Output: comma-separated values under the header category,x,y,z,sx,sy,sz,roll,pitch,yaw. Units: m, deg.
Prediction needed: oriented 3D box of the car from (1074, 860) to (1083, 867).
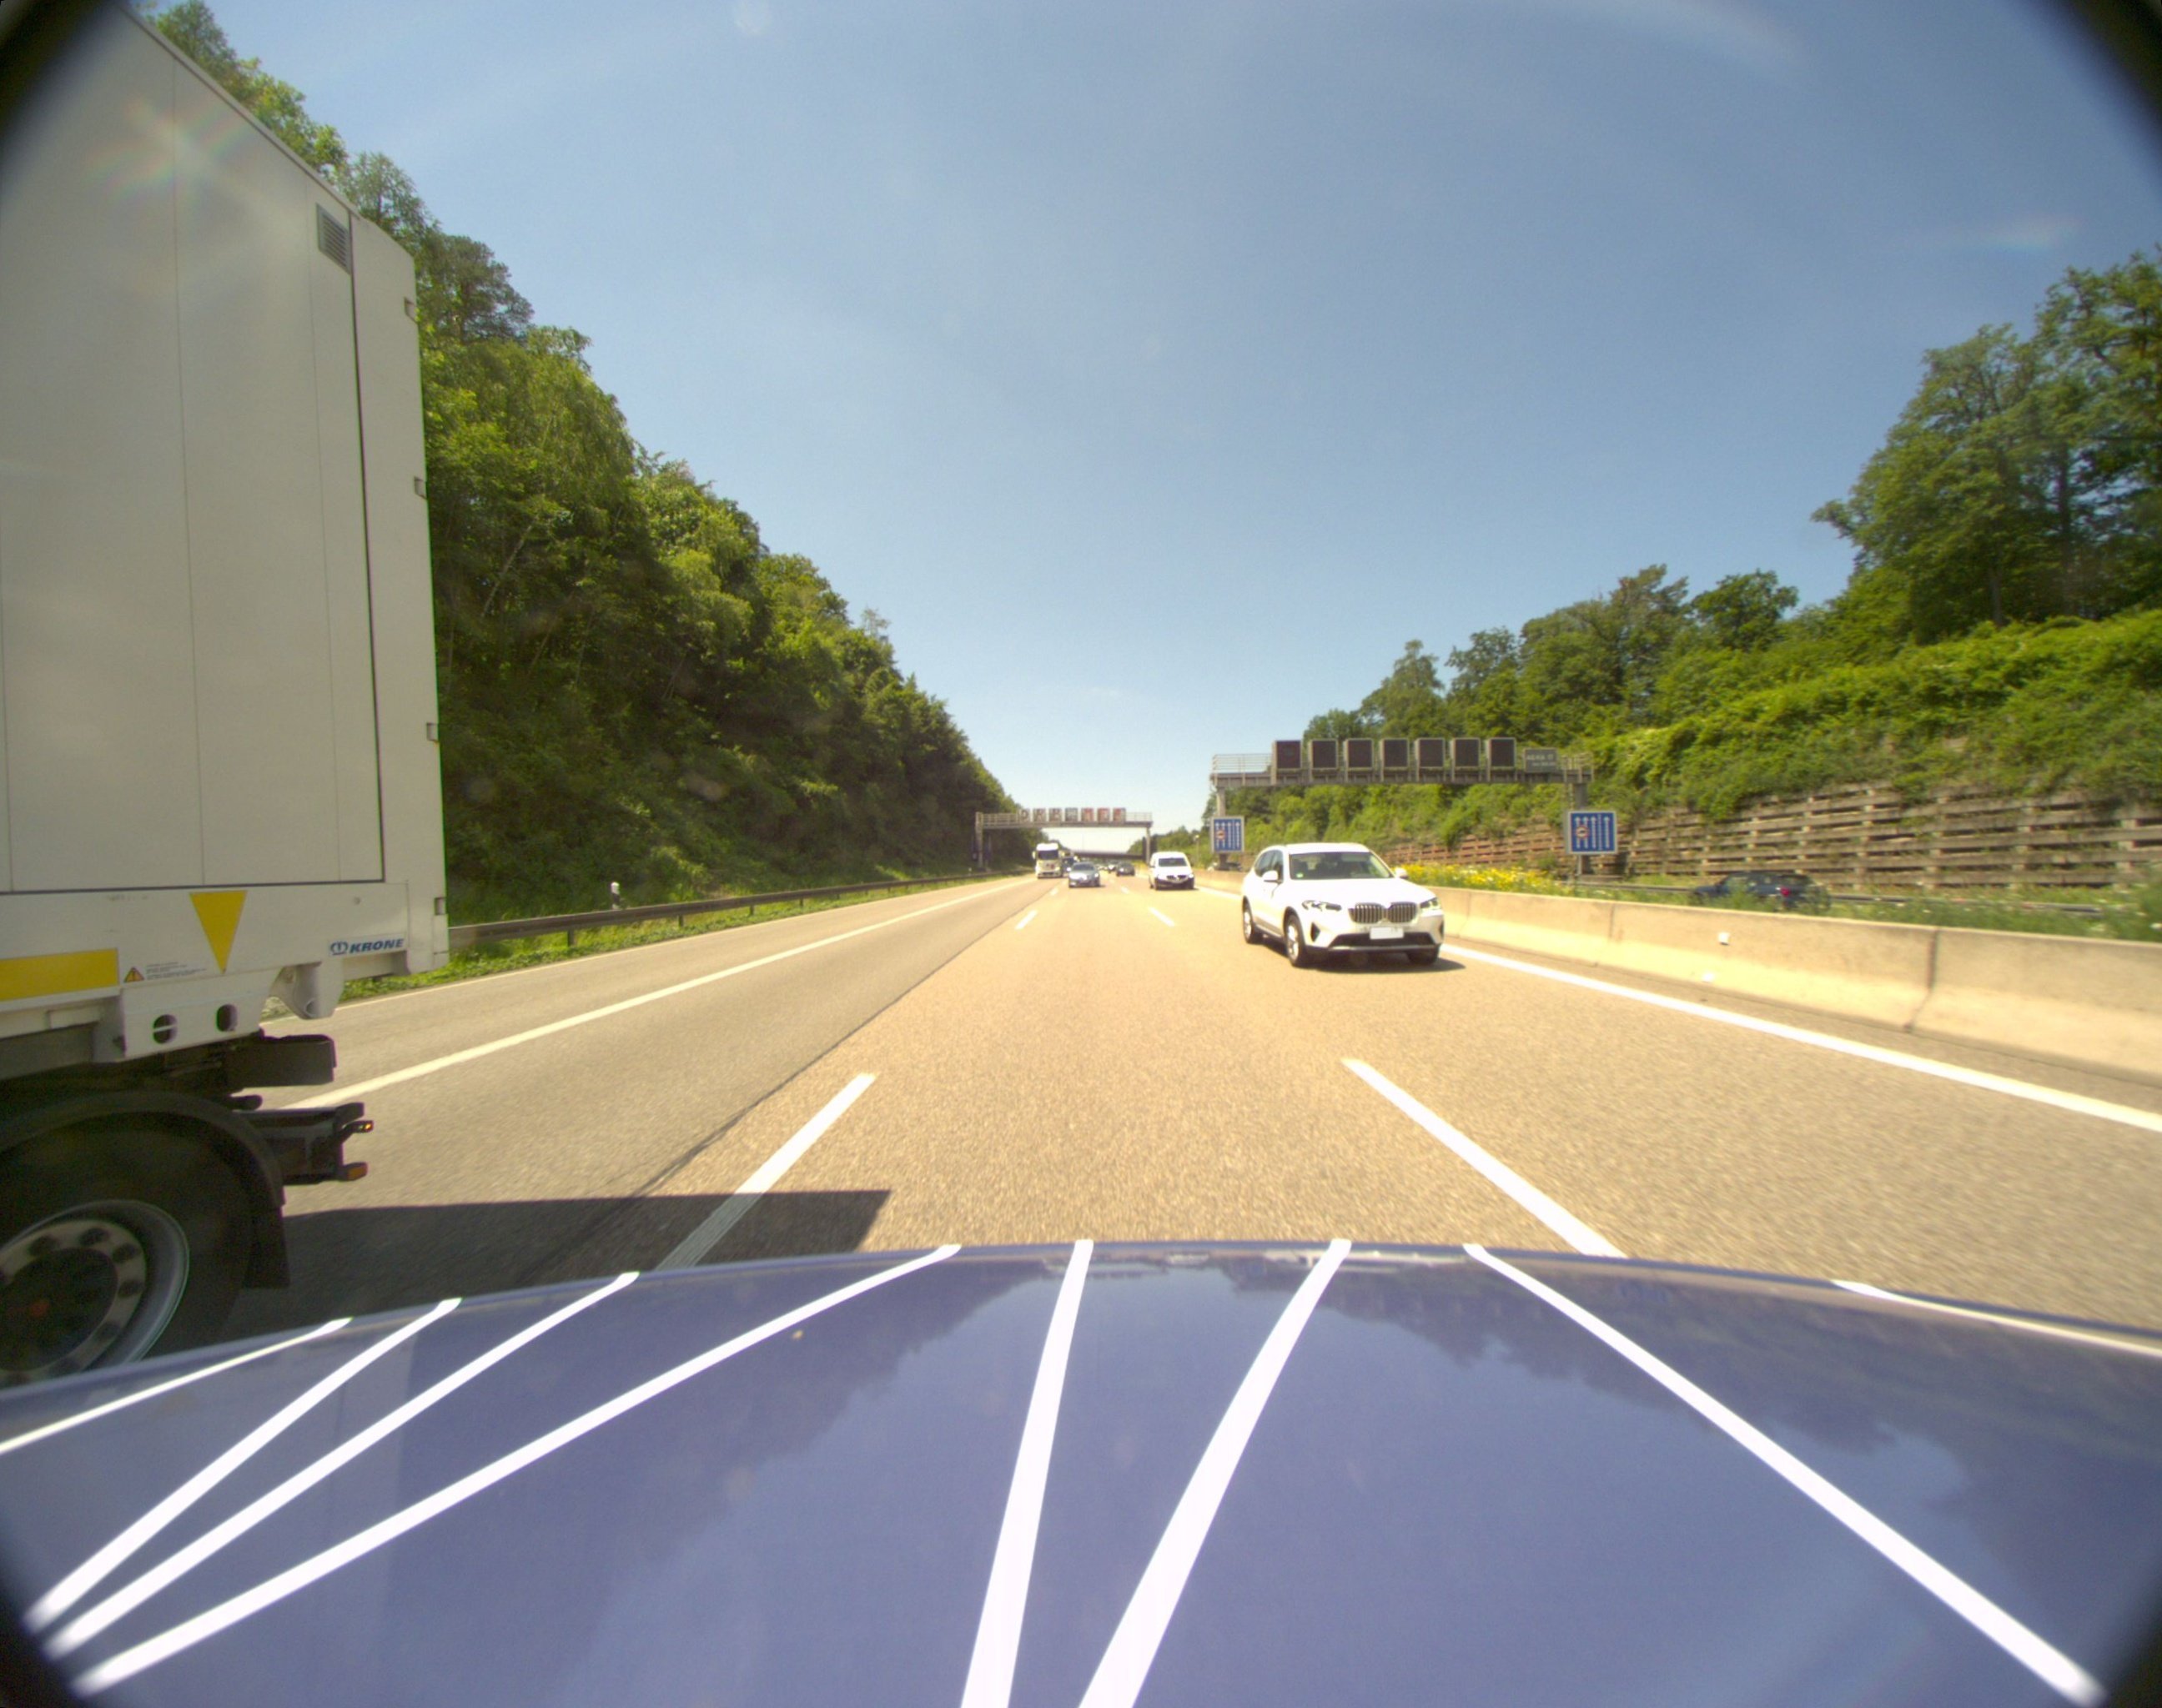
category,x,y,z,sx,sy,sz,roll,pitch,yaw
car,-0.644,2.504,198.503,1.924,1.849,4.001,-3,0,2

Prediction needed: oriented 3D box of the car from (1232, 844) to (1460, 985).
category,x,y,z,sx,sy,sz,roll,pitch,yaw
car,3.639,0.759,11.365,1.850,1.634,4.369,-2,-1,0

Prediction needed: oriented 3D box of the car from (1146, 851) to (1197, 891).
category,x,y,z,sx,sy,sz,roll,pitch,yaw
car,4.335,0.793,36.960,1.998,1.764,4.502,-3,0,2

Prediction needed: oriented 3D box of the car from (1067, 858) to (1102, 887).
category,x,y,z,sx,sy,sz,roll,pitch,yaw
car,0.233,1.060,44.406,1.843,1.518,4.502,-3,0,2

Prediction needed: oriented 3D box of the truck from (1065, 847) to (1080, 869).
category,x,y,z,sx,sy,sz,roll,pitch,yaw
truck,-1.689,0.816,158.447,2.627,4.364,13.088,-3,0,0

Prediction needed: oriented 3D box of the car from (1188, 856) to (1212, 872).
category,x,y,z,sx,sy,sz,roll,pitch,yaw
car,12.143,1.022,77.628,1.903,1.517,4.373,0,-1,1

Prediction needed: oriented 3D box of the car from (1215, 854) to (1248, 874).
category,x,y,z,sx,sy,sz,roll,pitch,yaw
car,12.277,0.815,62.286,1.903,1.517,4.373,0,-1,1

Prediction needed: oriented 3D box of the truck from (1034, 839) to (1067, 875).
category,x,y,z,sx,sy,sz,roll,pitch,yaw
truck,-3.245,0.409,83.914,2.844,3.517,13.088,-3,0,0

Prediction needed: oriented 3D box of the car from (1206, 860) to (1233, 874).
category,x,y,z,sx,sy,sz,roll,pitch,yaw
car,15.746,1.496,86.567,1.966,1.486,5.887,0,-1,-1

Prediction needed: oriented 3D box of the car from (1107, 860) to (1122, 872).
category,x,y,z,sx,sy,sz,roll,pitch,yaw
car,4.461,1.614,100.763,1.770,1.504,4.000,-3,0,0

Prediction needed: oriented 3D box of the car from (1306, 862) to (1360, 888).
category,x,y,z,sx,sy,sz,roll,pitch,yaw
car,15.228,1.237,46.078,1.903,1.517,4.373,0,-1,1

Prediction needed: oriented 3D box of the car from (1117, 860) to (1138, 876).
category,x,y,z,sx,sy,sz,roll,pitch,yaw
car,4.680,1.375,77.008,1.770,1.504,4.726,-3,0,0

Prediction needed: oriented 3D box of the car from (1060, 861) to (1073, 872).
category,x,y,z,sx,sy,sz,roll,pitch,yaw
car,-2.137,1.801,111.935,1.770,1.504,4.000,-3,0,0

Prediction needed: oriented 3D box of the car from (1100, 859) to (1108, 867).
category,x,y,z,sx,sy,sz,roll,pitch,yaw
car,5.432,2.051,179.644,1.924,1.849,4.001,-3,0,2

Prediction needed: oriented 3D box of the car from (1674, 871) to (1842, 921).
category,x,y,z,sx,sy,sz,roll,pitch,yaw
car,22.472,1.334,25.504,1.789,1.517,4.373,0,-1,1

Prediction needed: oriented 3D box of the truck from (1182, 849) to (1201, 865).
category,x,y,z,sx,sy,sz,roll,pitch,yaw
truck,20.988,0.648,144.645,2.586,2.975,7.063,0,-1,0

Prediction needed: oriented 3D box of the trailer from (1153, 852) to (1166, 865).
category,x,y,z,sx,sy,sz,roll,pitch,yaw
trailer,26.463,1.483,256.929,2.985,4.076,13.995,1,0,1

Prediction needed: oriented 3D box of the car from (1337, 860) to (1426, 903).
category,x,y,z,sx,sy,sz,roll,pitch,yaw
car,11.356,1.014,29.017,1.732,1.517,4.373,0,-1,1

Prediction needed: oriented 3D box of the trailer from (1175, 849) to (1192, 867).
category,x,y,z,sx,sy,sz,roll,pitch,yaw
trailer,24.818,0.950,185.204,2.985,4.182,14.469,1,0,3
